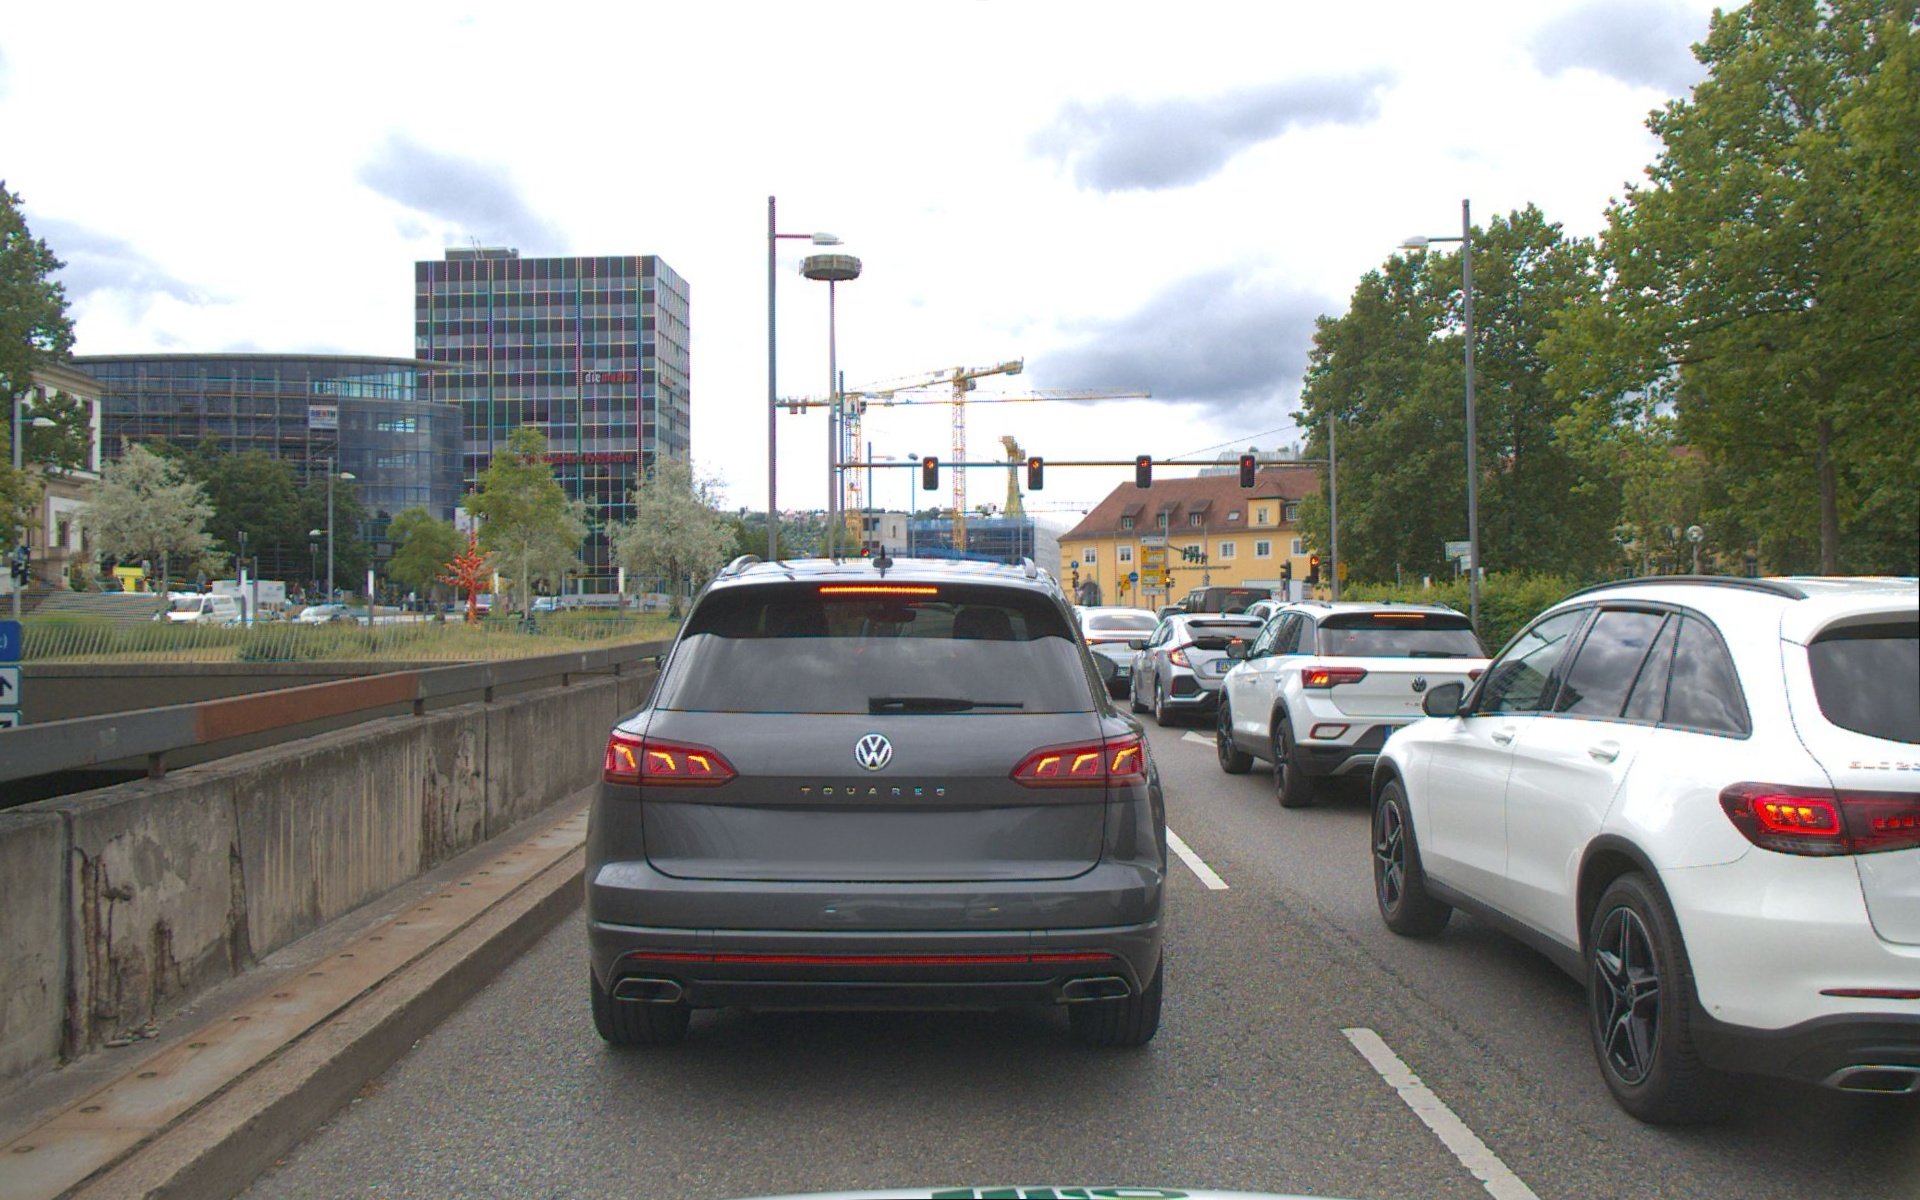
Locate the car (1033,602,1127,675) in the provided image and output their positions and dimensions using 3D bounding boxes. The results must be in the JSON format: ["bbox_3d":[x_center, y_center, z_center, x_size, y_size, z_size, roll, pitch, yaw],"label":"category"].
[{"bbox_3d":[2.685,0.854,37.766,1.887,1.556,4.047,1,-1,0],"label":"car"}]

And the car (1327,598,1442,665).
[{"bbox_3d":[10.228,0.769,40.141,1.891,1.485,4.529,1,-1,4],"label":"car"}]

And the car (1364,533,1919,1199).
[{"bbox_3d":[2.992,0.671,6.203,1.887,1.682,4.490,0,0,0],"label":"car"}]

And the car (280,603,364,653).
[{"bbox_3d":[-28.584,1.230,74.281,1.953,2.048,4.692,0,1,0],"label":"car"}]

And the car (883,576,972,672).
[{"bbox_3d":[-0.755,0.535,38.534,1.912,2.053,3.930,2,0,-1],"label":"car"}]

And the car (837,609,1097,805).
[{"bbox_3d":[0.019,0.818,14.381,1.912,1.408,3.930,2,0,-1],"label":"car"}]

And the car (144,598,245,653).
[{"bbox_3d":[-31.370,1.005,67.940,1.953,2.048,4.692,0,1,0],"label":"car"}]

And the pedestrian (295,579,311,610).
[{"bbox_3d":[-44.223,-0.361,111.372,0.723,2.049,0.793,-1,1,0],"label":"pedestrian"}]

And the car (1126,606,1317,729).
[{"bbox_3d":[3.386,0.844,22.231,1.887,1.457,4.489,1,-1,0],"label":"car"}]

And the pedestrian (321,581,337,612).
[{"bbox_3d":[-42.825,-0.242,112.210,0.723,2.049,0.793,-1,-2,2],"label":"pedestrian"}]

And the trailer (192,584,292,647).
[{"bbox_3d":[-31.636,0.632,73.036,1.996,2.650,5.507,2,1,-1],"label":"trailer"}]

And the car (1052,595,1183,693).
[{"bbox_3d":[2.670,0.742,28.947,1.887,1.556,4.489,1,-1,0],"label":"car"}]

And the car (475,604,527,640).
[{"bbox_3d":[-28.386,1.324,102.452,1.953,2.048,4.691,0,1,-1],"label":"car"}]

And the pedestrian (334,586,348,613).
[{"bbox_3d":[-48.036,-0.053,128.287,0.774,2.049,0.740,-1,1,-2],"label":"pedestrian"}]

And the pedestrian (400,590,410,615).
[{"bbox_3d":[-47.591,0.212,141.885,0.728,2.049,0.787,-1,1,-23],"label":"pedestrian"}]

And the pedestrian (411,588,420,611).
[{"bbox_3d":[-48.558,-0.039,147.473,0.726,2.049,0.789,-1,1,-16],"label":"pedestrian"}]

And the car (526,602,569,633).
[{"bbox_3d":[-29.081,1.210,116.804,1.953,2.048,4.691,0,1,-1],"label":"car"}]

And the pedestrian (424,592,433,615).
[{"bbox_3d":[-47.539,0.334,148.019,0.726,2.049,0.789,-1,1,-16],"label":"pedestrian"}]

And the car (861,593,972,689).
[{"bbox_3d":[-0.800,0.728,30.997,1.912,1.628,3.930,2,0,-1],"label":"car"}]

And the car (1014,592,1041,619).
[{"bbox_3d":[4.527,0.386,111.425,1.586,1.656,3.999,2,-1,0],"label":"car"}]

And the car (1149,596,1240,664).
[{"bbox_3d":[6.303,0.801,44.770,1.871,1.727,4.011,2,-1,0],"label":"car"}]

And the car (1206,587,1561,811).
[{"bbox_3d":[3.347,0.732,14.001,1.887,1.578,4.489,1,-1,0],"label":"car"}]

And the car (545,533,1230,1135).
[{"bbox_3d":[-0.232,0.661,6.642,1.912,1.680,3.999,0,0,-1],"label":"car"}]

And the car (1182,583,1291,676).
[{"bbox_3d":[6.483,0.688,39.194,1.871,2.049,4.011,2,-1,0],"label":"car"}]

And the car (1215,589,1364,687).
[{"bbox_3d":[6.366,0.681,32.422,1.953,1.668,4.304,0,2,-2],"label":"car"}]

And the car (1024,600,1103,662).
[{"bbox_3d":[2.707,0.821,44.055,1.887,1.556,4.047,1,-1,0],"label":"car"}]
